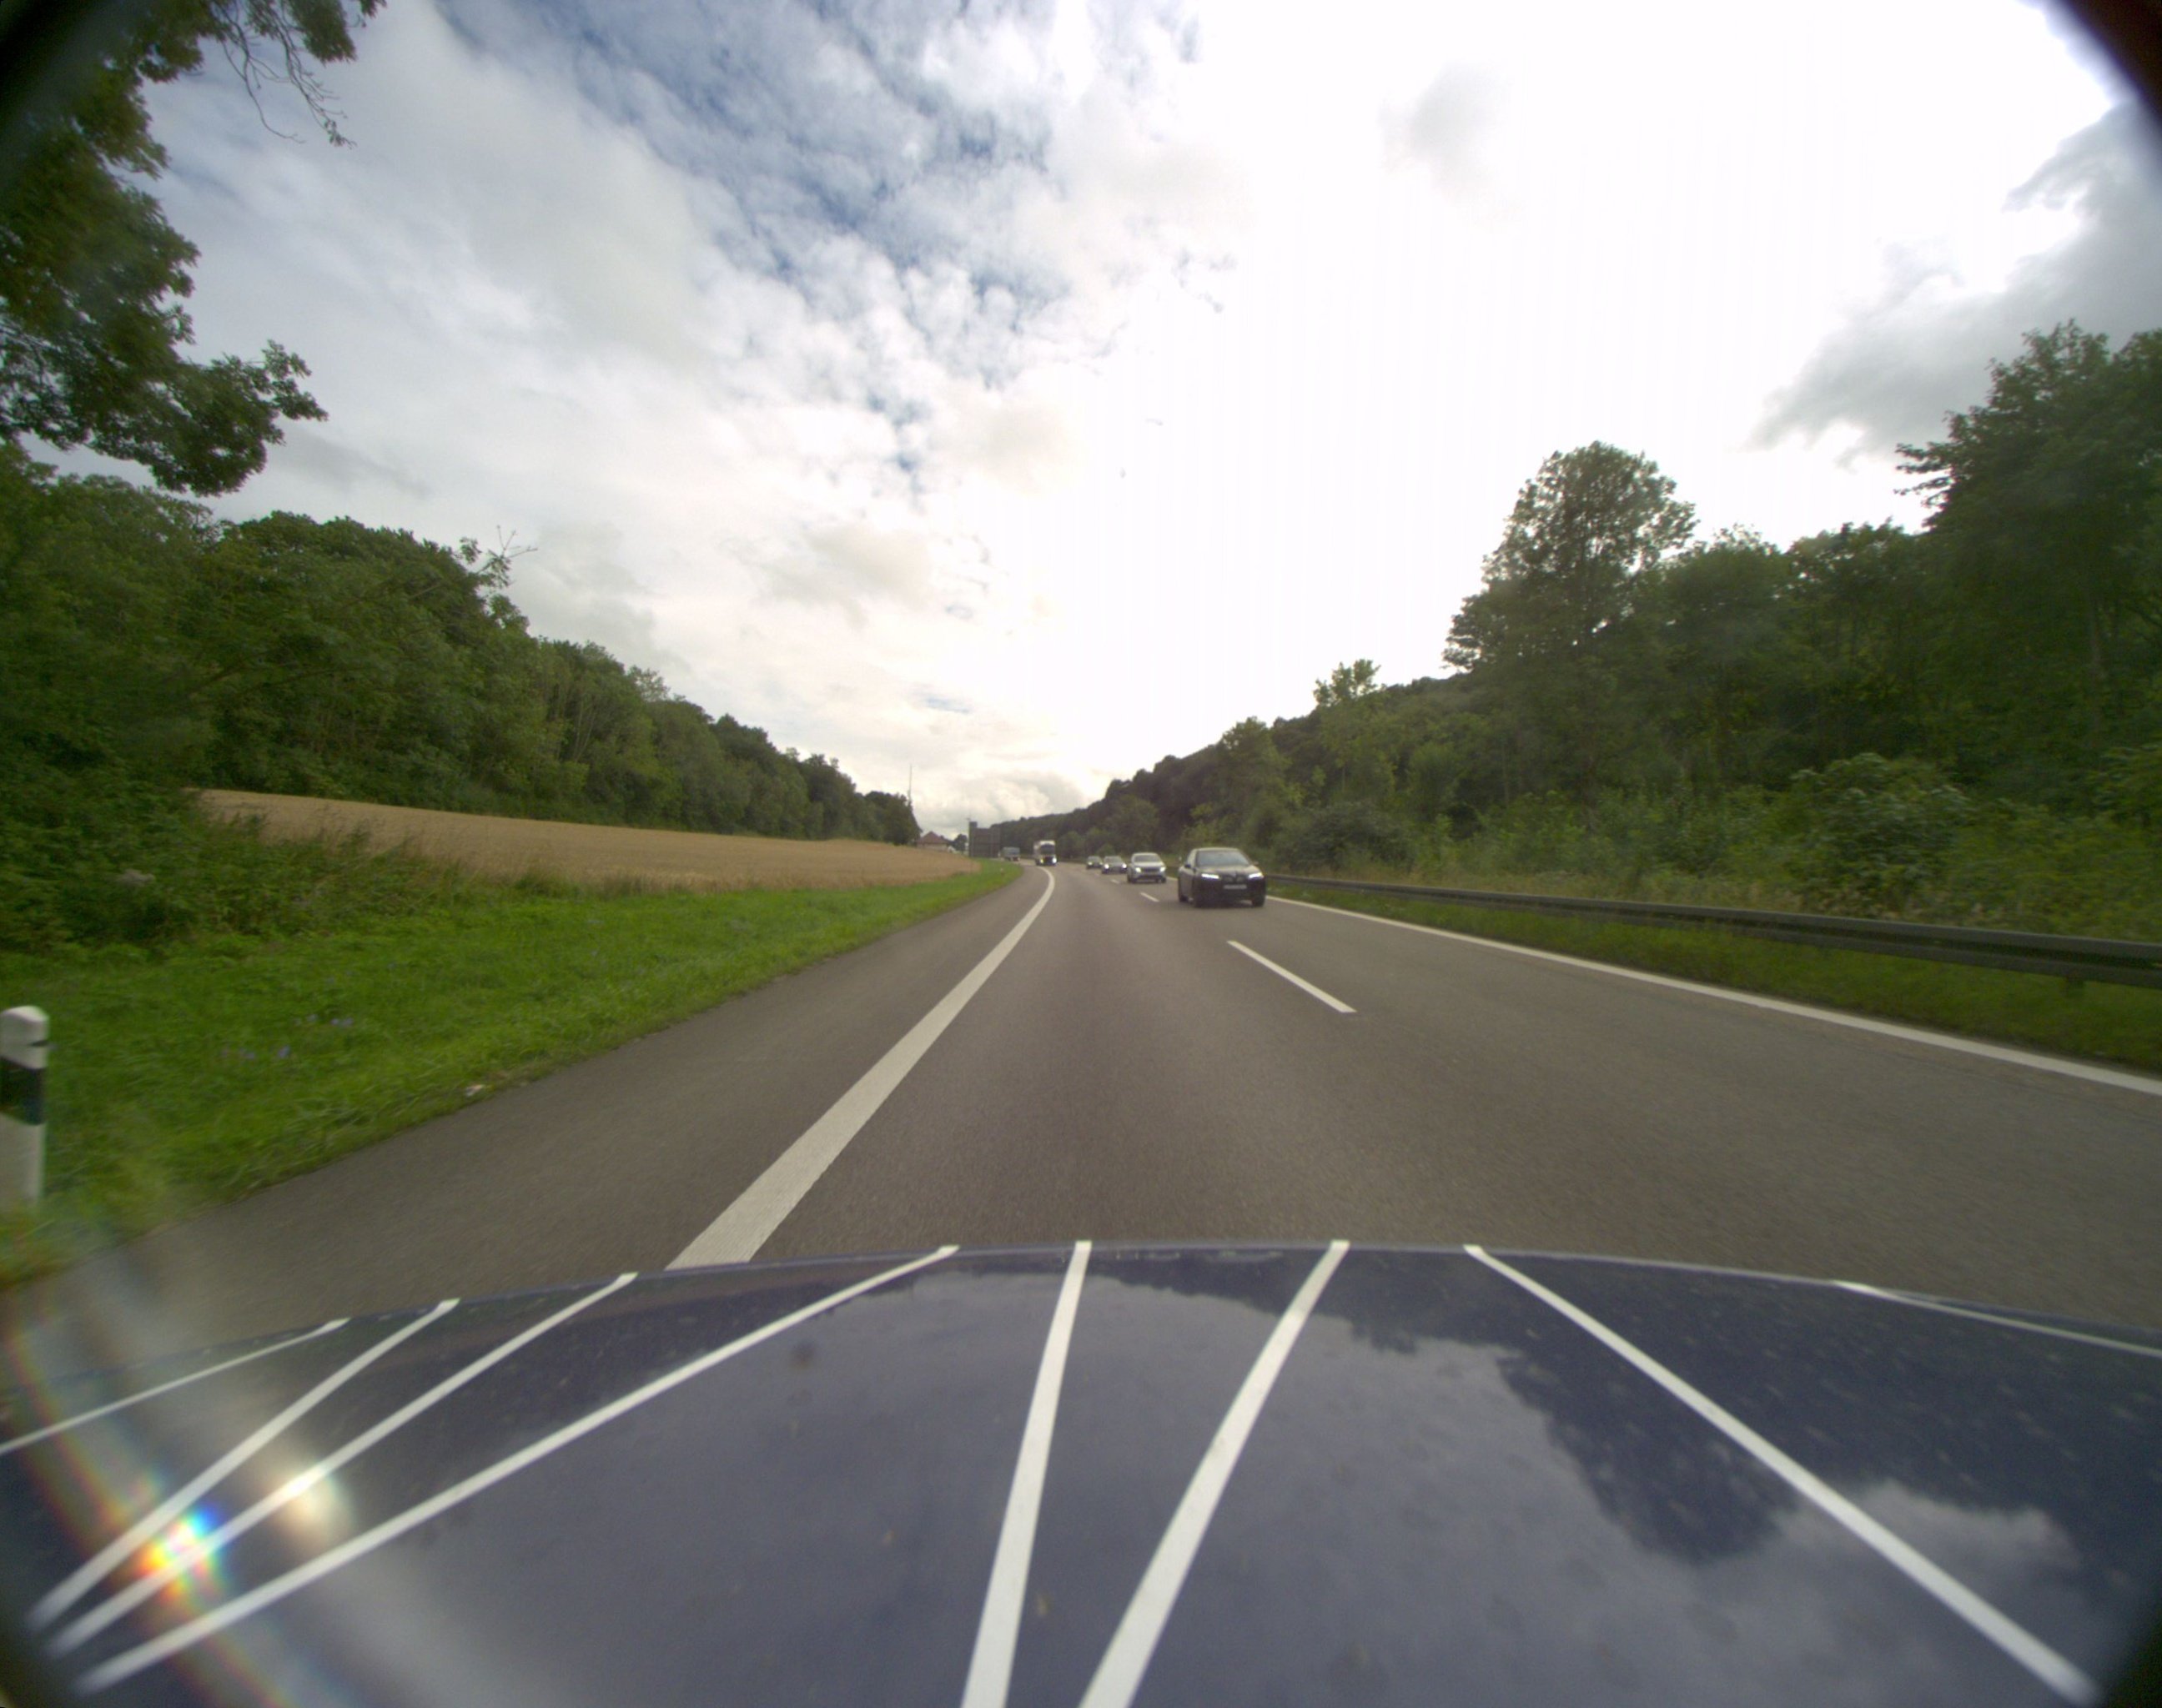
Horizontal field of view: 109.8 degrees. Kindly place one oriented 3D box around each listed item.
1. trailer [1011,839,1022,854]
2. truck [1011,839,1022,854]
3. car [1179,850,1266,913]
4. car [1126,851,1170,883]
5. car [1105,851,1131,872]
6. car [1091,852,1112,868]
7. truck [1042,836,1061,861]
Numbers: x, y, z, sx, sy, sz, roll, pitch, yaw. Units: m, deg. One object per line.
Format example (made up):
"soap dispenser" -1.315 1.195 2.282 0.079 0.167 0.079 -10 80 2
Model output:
"trailer" -17.637 -2.093 208.926 2.788 3.932 11.290 -1 1 -5
"truck" -17.073 -2.030 202.202 2.796 3.949 5.937 -1 1 -5
"car" 4.113 0.744 22.776 1.998 1.656 4.415 -1 0 3
"car" 3.726 0.698 42.875 1.999 1.656 4.414 -1 1 -1
"car" 3.105 0.610 64.467 1.998 1.656 4.415 -1 1 1
"car" 2.292 0.668 85.679 1.999 1.656 4.413 -1 1 -2
"truck" -4.752 -0.929 122.307 2.796 3.949 5.937 -1 1 -5
